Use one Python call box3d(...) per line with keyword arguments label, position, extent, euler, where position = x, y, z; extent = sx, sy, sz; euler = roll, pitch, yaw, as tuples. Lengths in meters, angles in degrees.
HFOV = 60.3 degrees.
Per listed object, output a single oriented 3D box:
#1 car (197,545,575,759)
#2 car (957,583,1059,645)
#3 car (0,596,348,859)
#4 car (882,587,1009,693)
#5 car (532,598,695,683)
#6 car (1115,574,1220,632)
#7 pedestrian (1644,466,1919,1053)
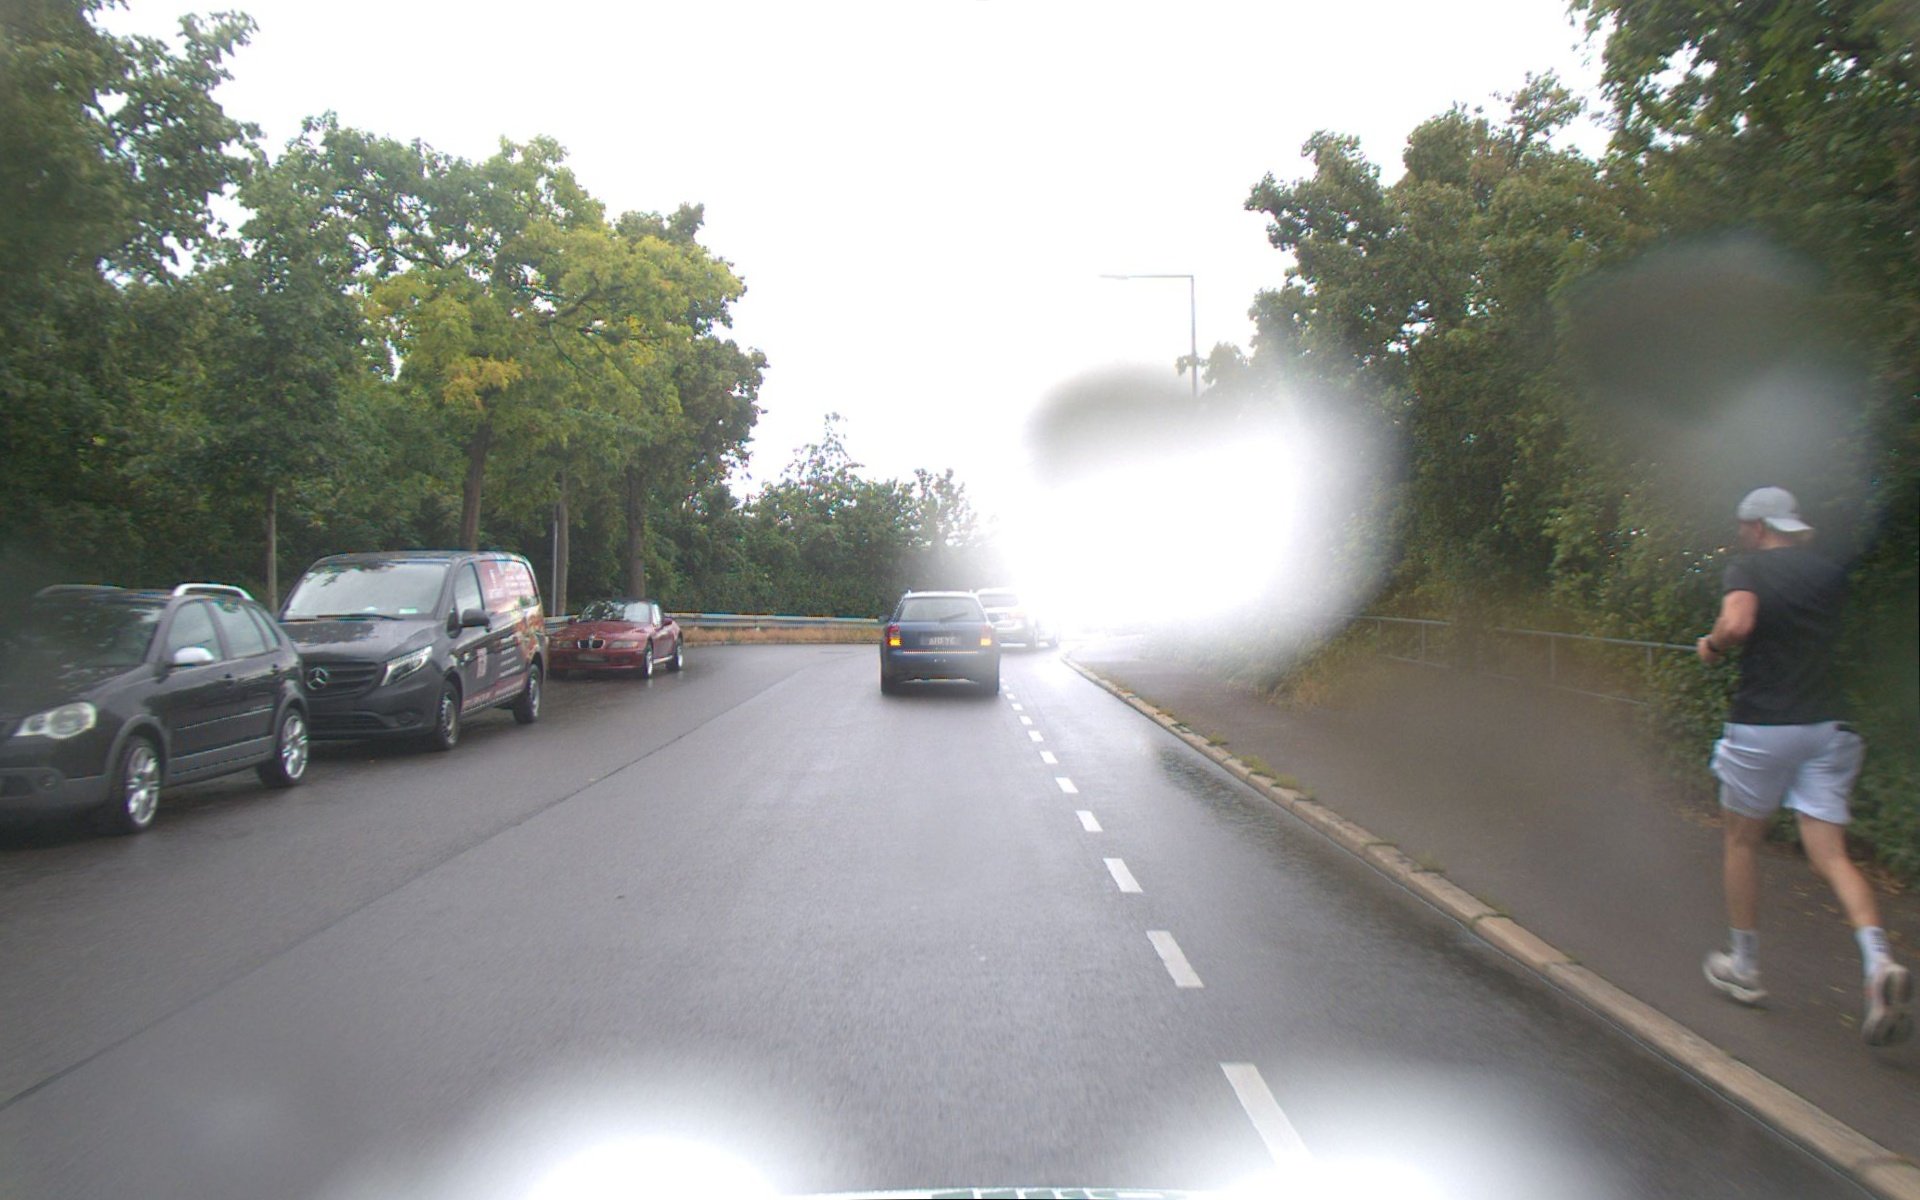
box3d(label="car", position=(-5.705, 0.457, 17.333), extent=(2.041, 1.851, 5.380), euler=(-1, 0, 0))
box3d(label="car", position=(1.226, 0.321, 40.016), extent=(1.850, 1.413, 4.003), euler=(-1, 0, 11))
box3d(label="car", position=(-5.843, 0.723, 11.359), extent=(1.761, 1.462, 4.255), euler=(-1, 0, -1))
box3d(label="car", position=(-0.144, 0.616, 24.562), extent=(1.711, 1.432, 4.000), euler=(0, -2, 2))
box3d(label="car", position=(-5.839, 0.639, 28.368), extent=(1.752, 1.319, 4.326), euler=(-1, 0, 2))
box3d(label="car", position=(6.307, 0.083, 49.994), extent=(1.788, 1.645, 3.777), euler=(-2, 0, 31))
box3d(label="pedestrian", position=(2.989, 0.503, 5.814), extent=(0.702, 1.867, 1.021), euler=(-2, 0, 1))
